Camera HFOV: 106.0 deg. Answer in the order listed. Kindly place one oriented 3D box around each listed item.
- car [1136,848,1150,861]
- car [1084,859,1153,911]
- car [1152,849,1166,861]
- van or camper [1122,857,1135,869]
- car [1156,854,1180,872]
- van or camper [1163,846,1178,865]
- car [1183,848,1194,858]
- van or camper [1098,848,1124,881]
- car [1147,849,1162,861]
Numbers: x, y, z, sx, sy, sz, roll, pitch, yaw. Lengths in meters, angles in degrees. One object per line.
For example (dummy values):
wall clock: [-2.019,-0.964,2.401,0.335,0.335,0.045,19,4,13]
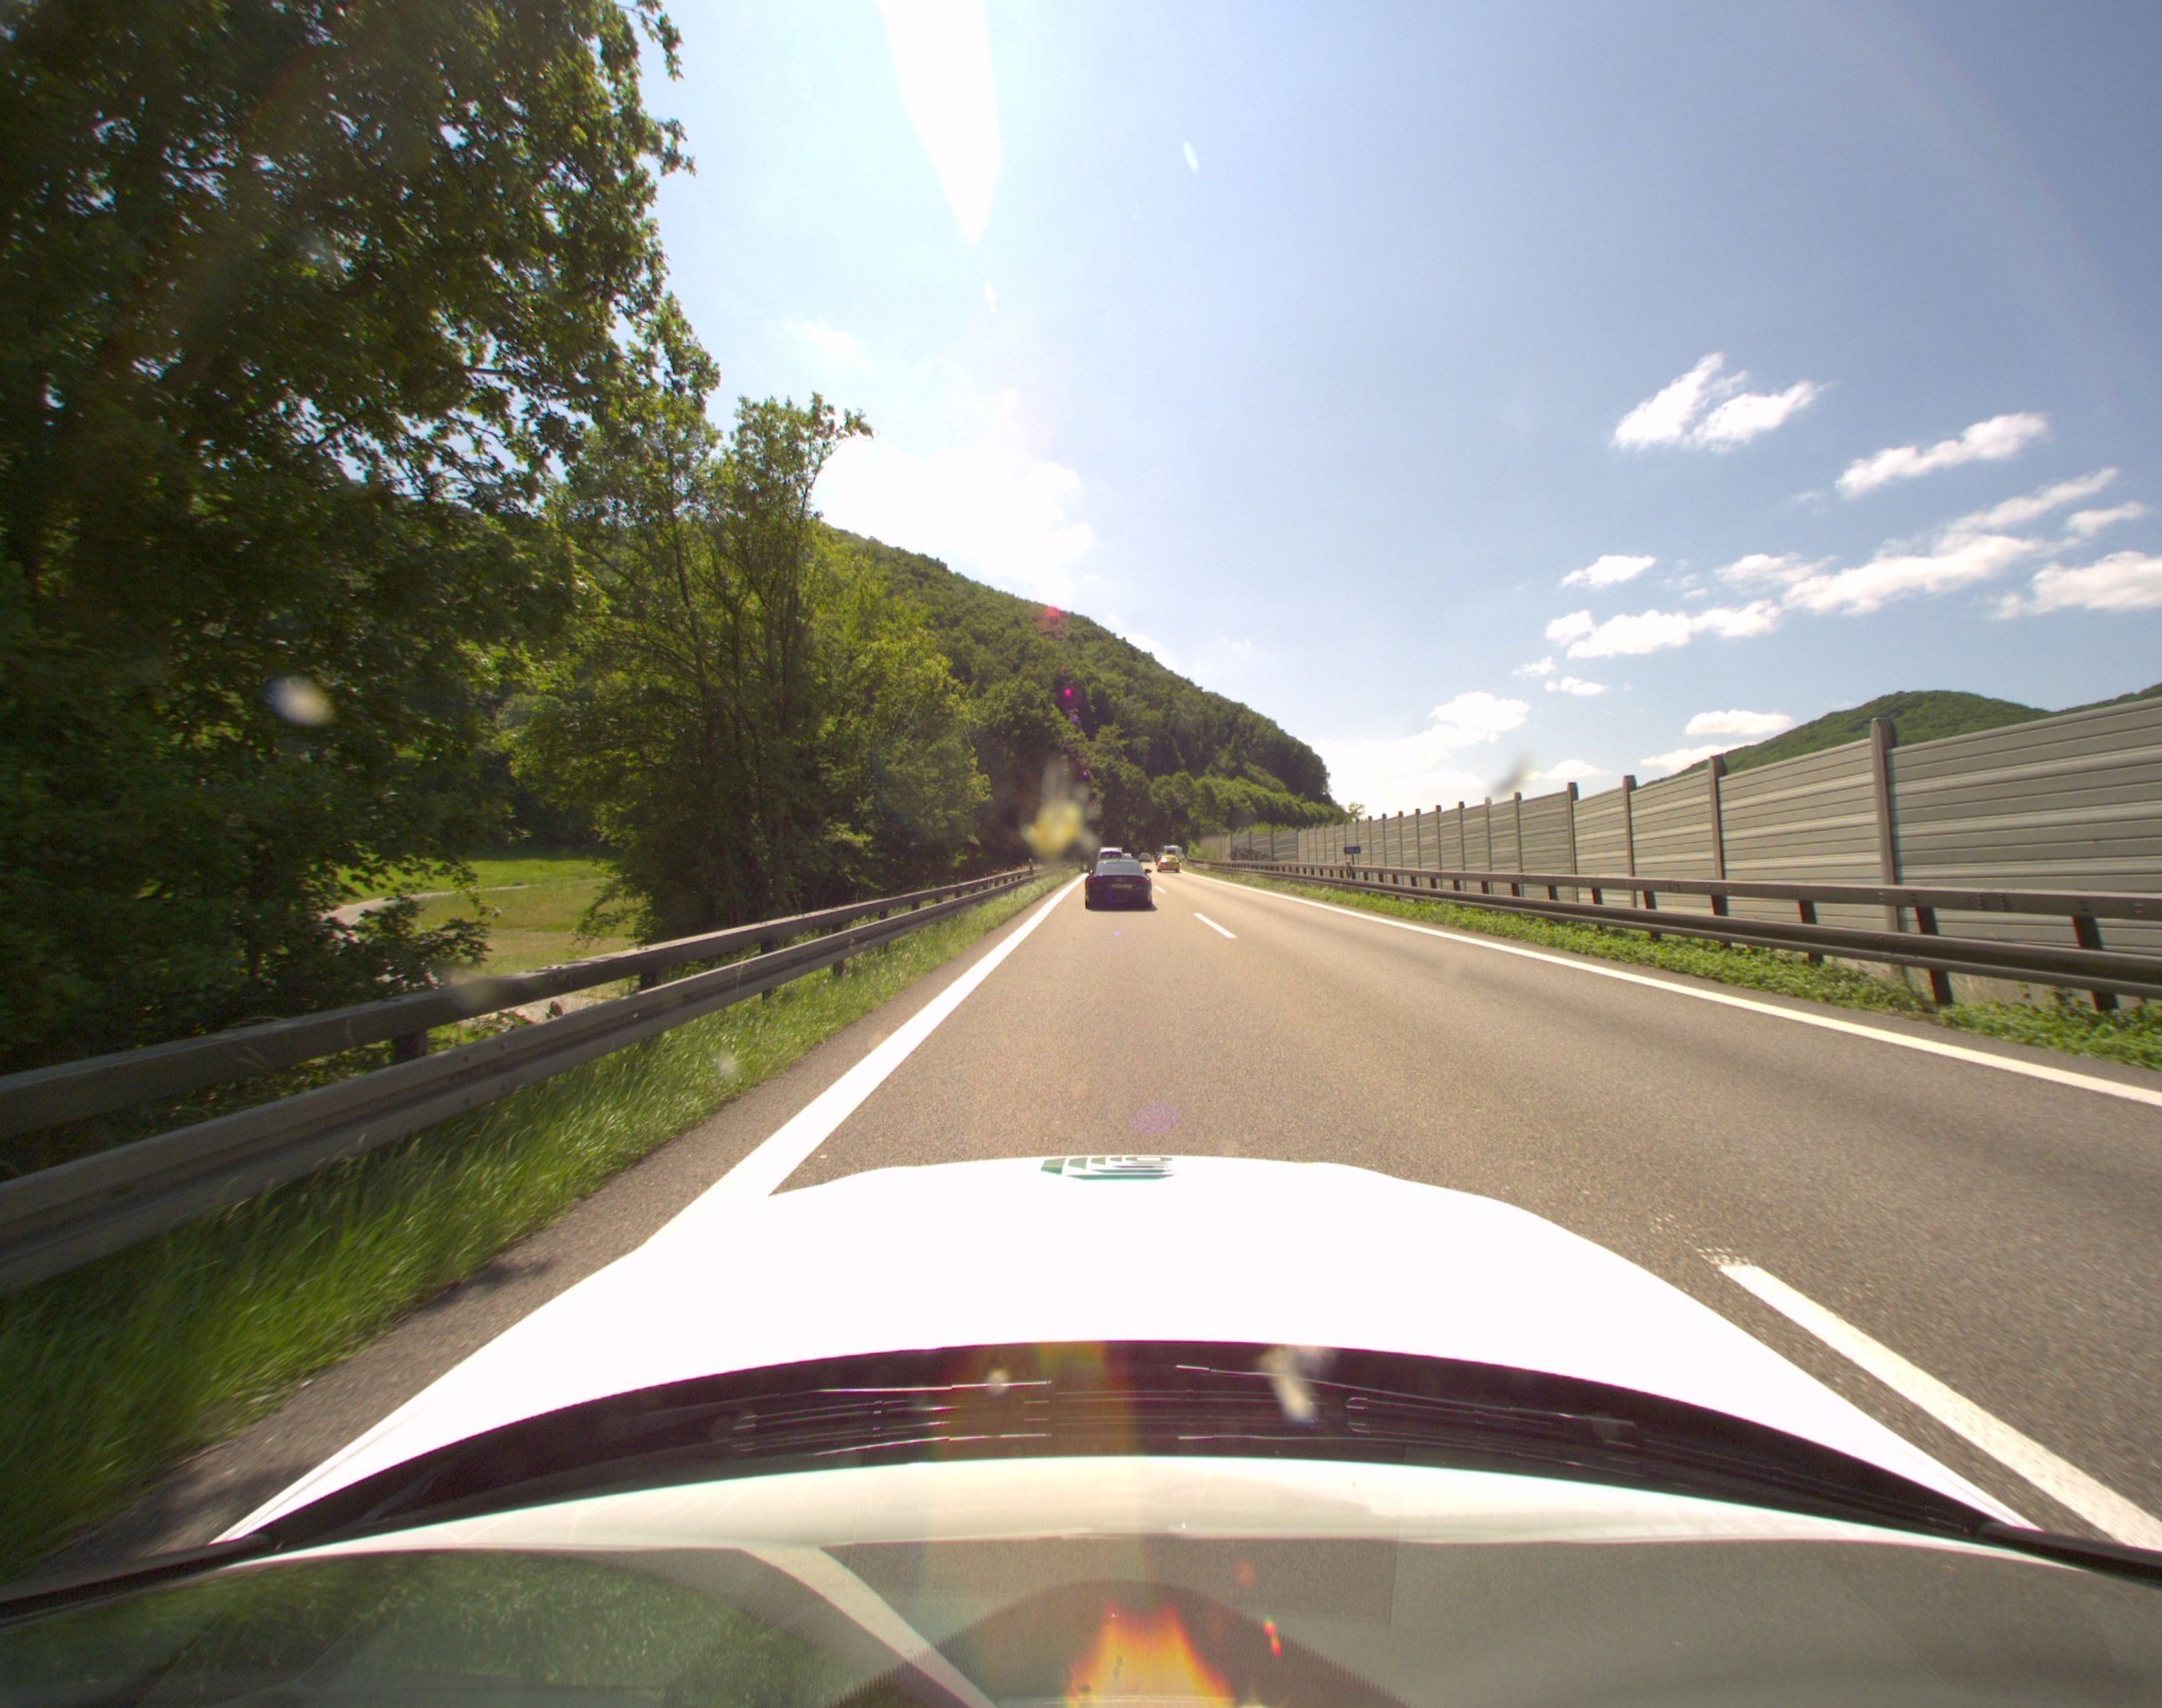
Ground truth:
car: [9.901,0.073,130.653,1.986,2.014,4.001,-1,-1,2]
car: [1.096,0.861,24.000,1.830,1.349,4.002,-2,-1,2]
car: [14.182,0.178,147.804,1.981,2.014,4.012,-1,-1,10]
van or camper: [6.219,1.166,106.547,1.551,1.534,3.507,-1,-1,2]
car: [7.594,0.789,71.061,1.855,1.488,4.003,-1,-1,3]
van or camper: [14.678,0.230,133.445,2.443,2.918,6.136,-1,-1,6]
car: [22.723,-0.127,172.043,1.980,2.014,4.013,-1,-1,12]
van or camper: [1.705,0.587,46.498,1.386,1.816,4.002,-1,-1,2]
car: [10.017,0.183,110.928,1.767,1.637,4.001,0,-1,2]
